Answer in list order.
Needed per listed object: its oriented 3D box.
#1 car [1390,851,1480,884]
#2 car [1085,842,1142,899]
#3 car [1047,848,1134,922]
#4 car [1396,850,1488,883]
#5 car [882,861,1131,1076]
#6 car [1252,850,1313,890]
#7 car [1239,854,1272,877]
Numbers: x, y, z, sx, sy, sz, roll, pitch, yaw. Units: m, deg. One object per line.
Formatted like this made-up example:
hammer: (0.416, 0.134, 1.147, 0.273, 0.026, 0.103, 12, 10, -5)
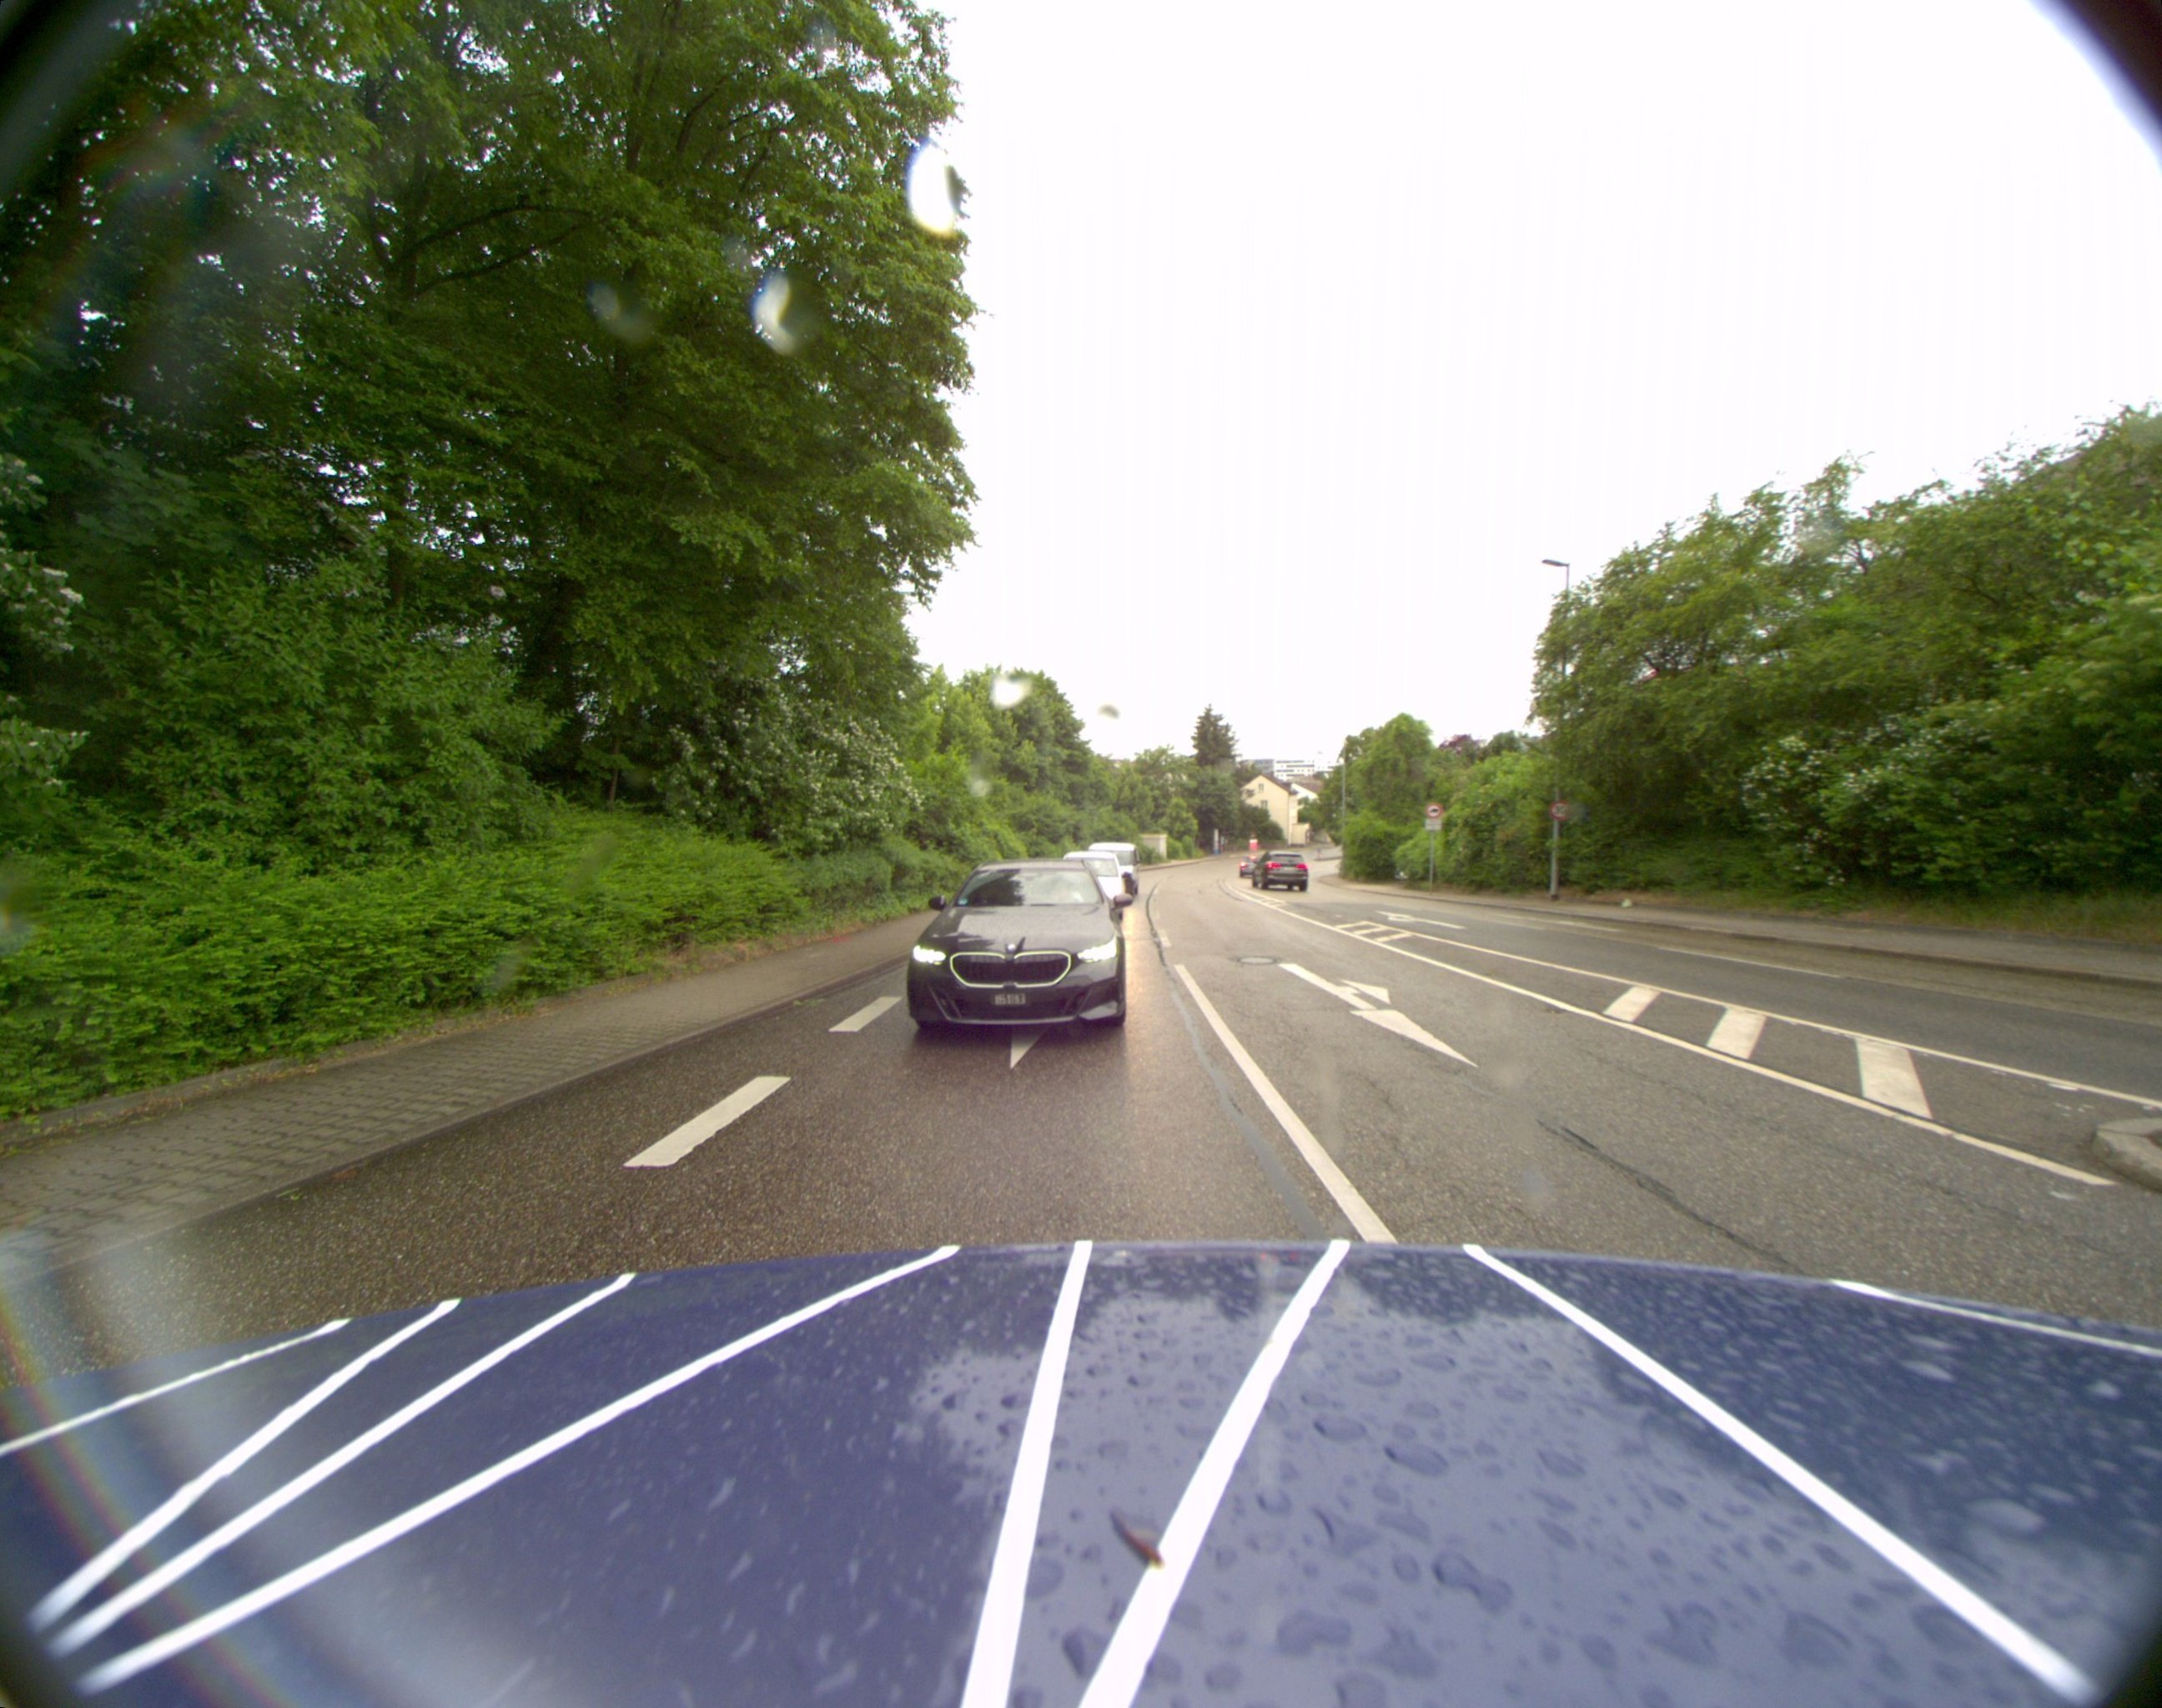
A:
car: (19.442, 0.732, 41.873, 3.995, 1.527, 2.001, -4, 0, 8)
car: (1.205, 0.482, 26.309, 1.777, 1.765, 4.000, 1, 2, 5)
car: (0.207, 0.661, 18.518, 1.818, 1.431, 3.999, 3, 2, 0)
car: (18.535, 0.612, 39.161, 3.908, 1.432, 1.812, -4, 0, 9)
car: (-0.496, 0.886, 7.864, 1.872, 1.497, 4.197, 1, 1, 2)
car: (9.194, 0.667, 35.046, 1.997, 1.707, 4.719, 0, 0, 6)
car: (12.749, 0.775, 55.291, 1.744, 1.593, 4.038, 1, 0, 21)
